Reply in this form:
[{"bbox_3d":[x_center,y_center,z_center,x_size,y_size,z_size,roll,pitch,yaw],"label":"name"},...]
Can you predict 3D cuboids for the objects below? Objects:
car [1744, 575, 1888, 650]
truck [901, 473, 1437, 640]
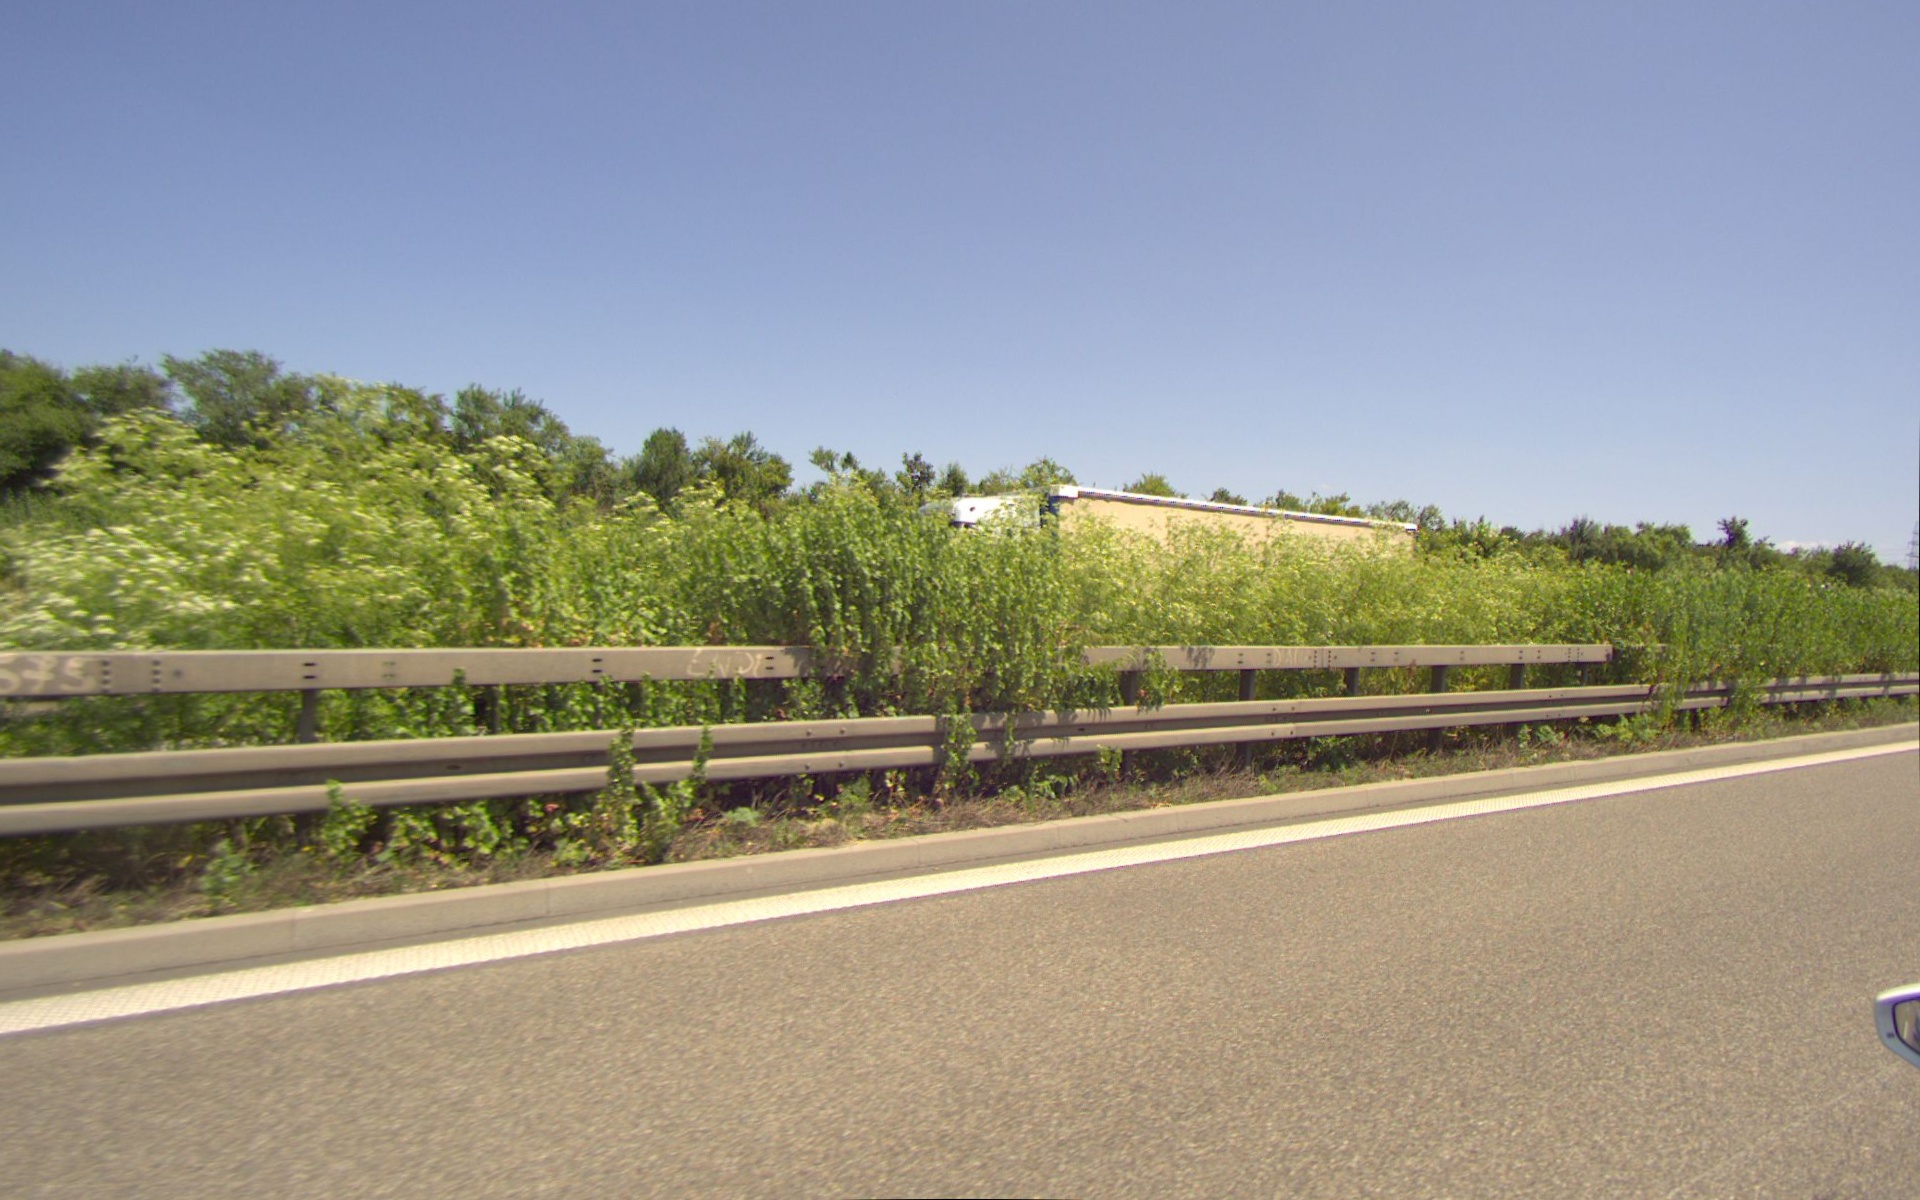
[{"bbox_3d":[41.974,0.647,49.175,8.697,3.397,2.779,1,-1,-31],"label":"car"},{"bbox_3d":[6.492,-0.766,26.973,16.845,3.565,2.660,1,-1,-32],"label":"truck"}]
